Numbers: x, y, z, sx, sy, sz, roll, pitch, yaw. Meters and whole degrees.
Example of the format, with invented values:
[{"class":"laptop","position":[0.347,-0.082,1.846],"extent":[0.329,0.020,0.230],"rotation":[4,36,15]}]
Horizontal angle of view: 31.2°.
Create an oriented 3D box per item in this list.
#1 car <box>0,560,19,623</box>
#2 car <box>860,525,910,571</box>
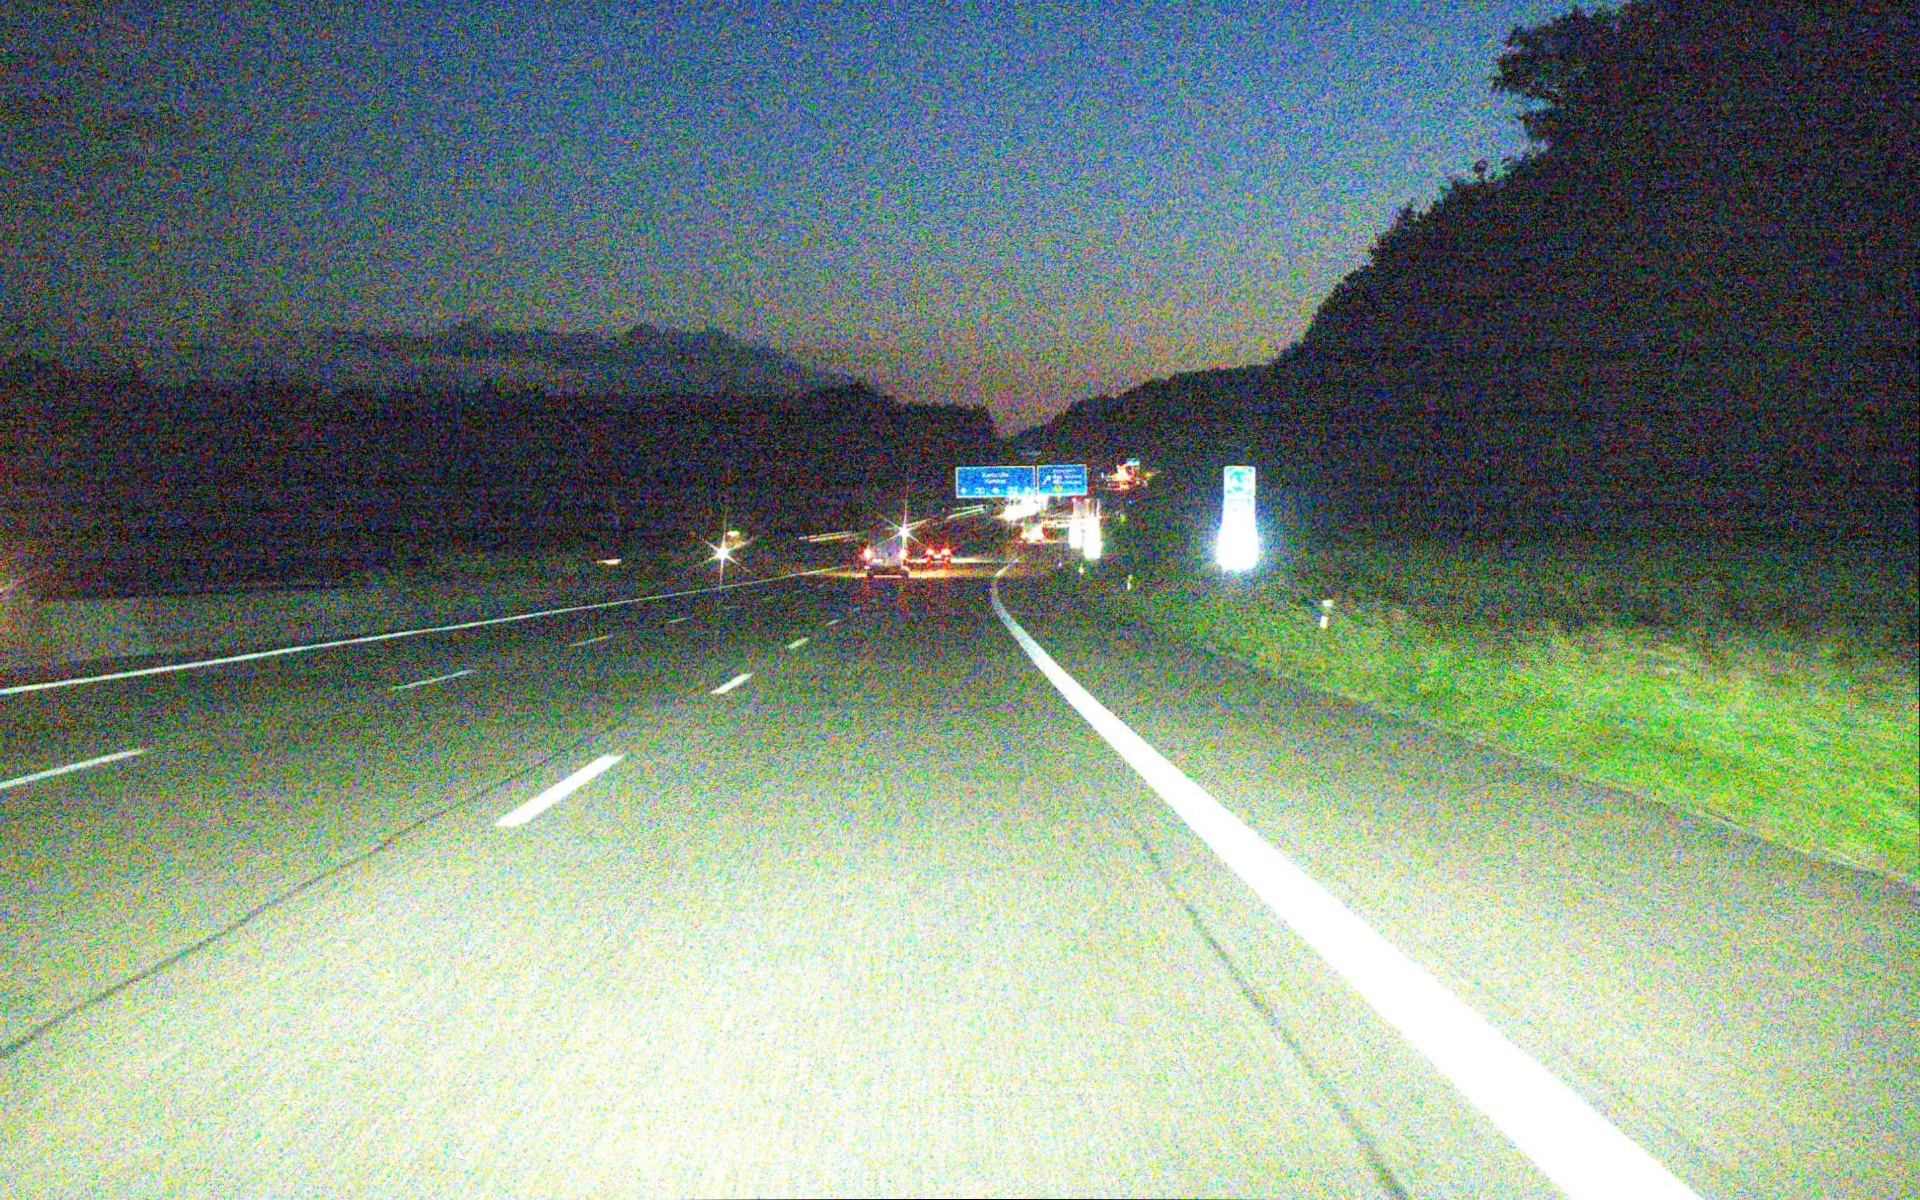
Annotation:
[{"class":"car","position":[-20.132,-0.164,69.055],"extent":[1.591,1.260,4.001],"rotation":[0,1,-4]},{"class":"car","position":[-3.849,-2.678,177.010],"extent":[2.511,2.306,4.971],"rotation":[0,1,0]}]
